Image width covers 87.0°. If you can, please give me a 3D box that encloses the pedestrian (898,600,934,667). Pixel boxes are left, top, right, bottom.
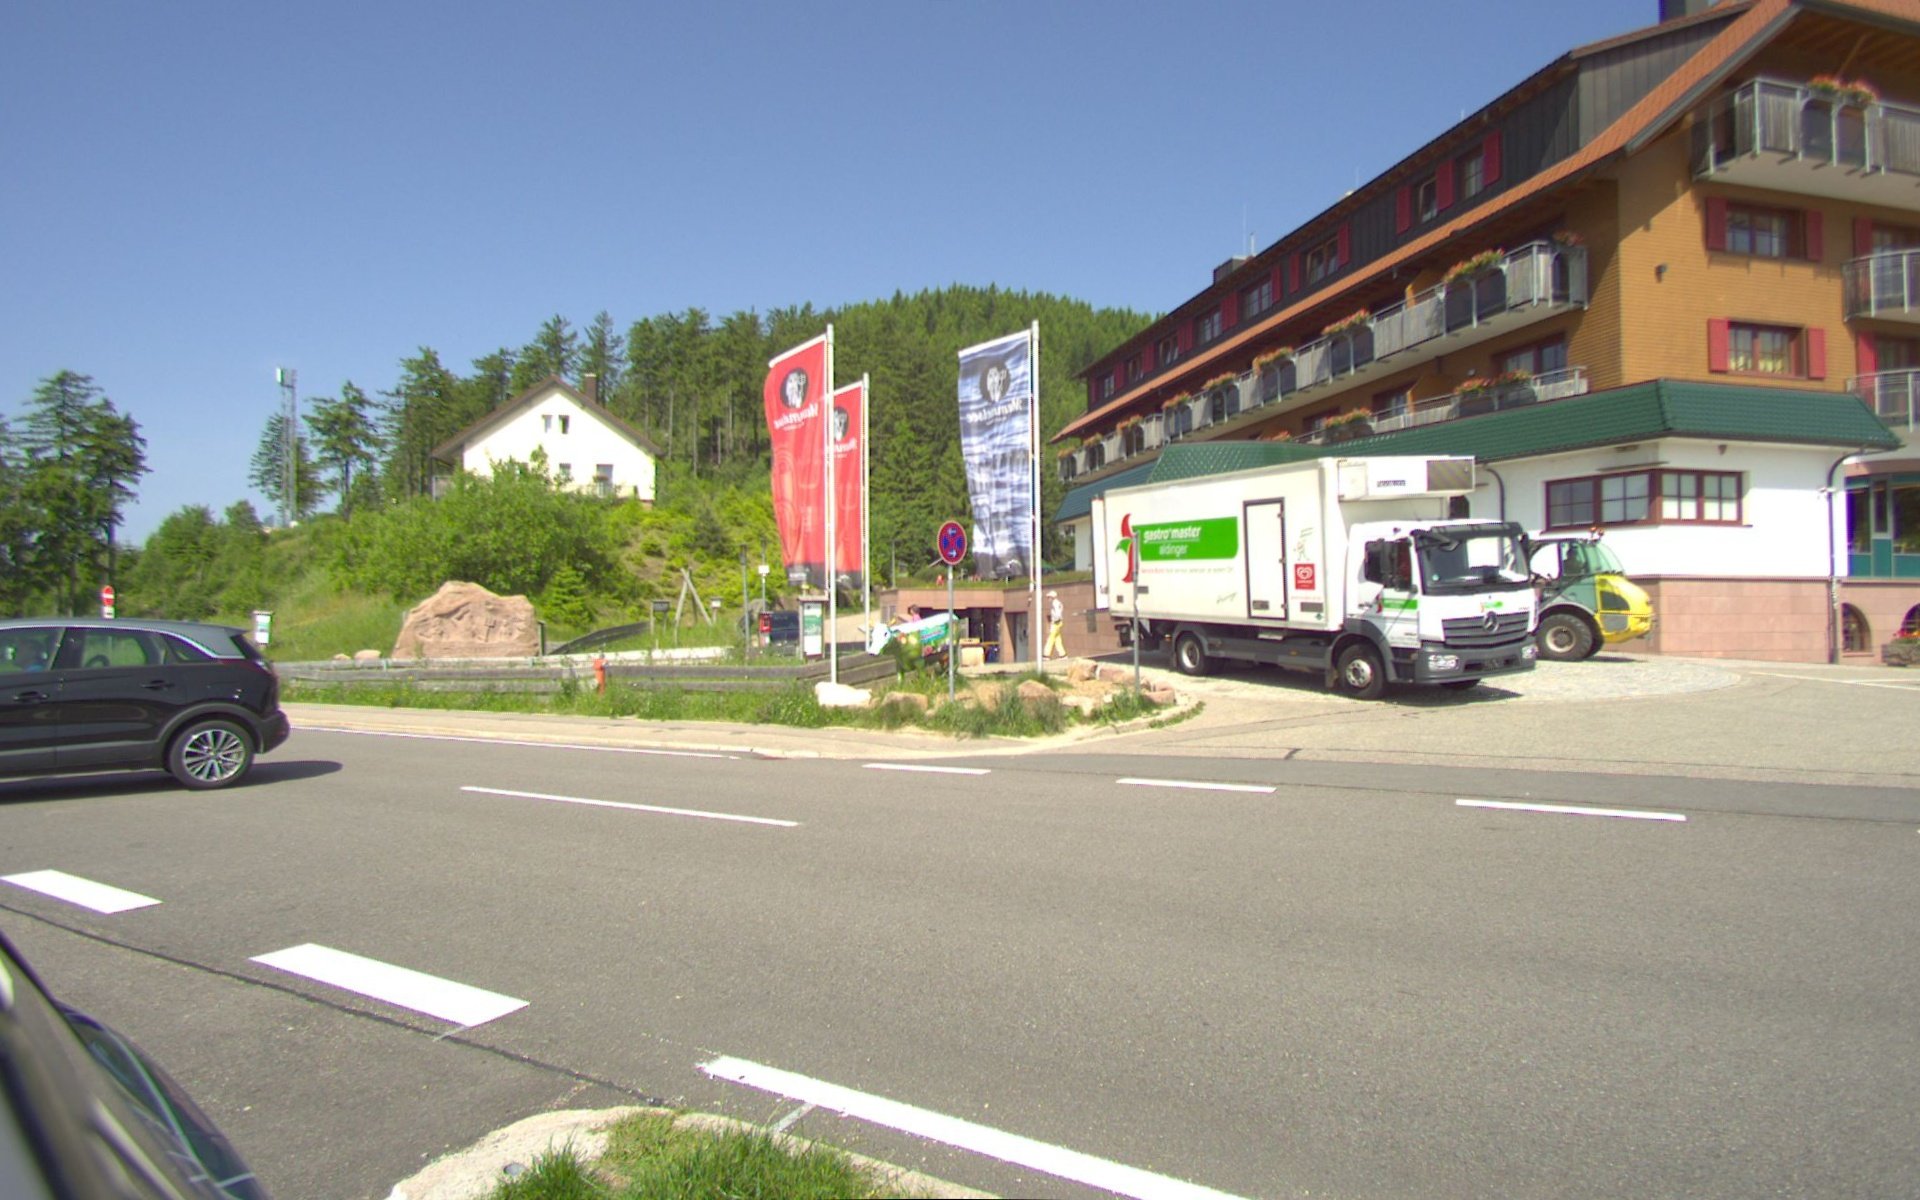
[{"bbox_3d":[-1.167,0.890,26.626,0.687,1.729,0.801,0,-2,-24],"label":"pedestrian"}]

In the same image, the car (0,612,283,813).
[{"bbox_3d":[-8.557,0.936,8.902,4.086,1.629,1.989,0,-1,-43],"label":"car"}]

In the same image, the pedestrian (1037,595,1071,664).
[{"bbox_3d":[2.346,0.731,25.314,0.565,1.702,0.655,0,-2,-24],"label":"pedestrian"}]

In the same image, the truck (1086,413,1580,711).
[{"bbox_3d":[5.887,-0.617,18.221,3.017,4.001,8.801,-3,2,-23],"label":"truck"}]

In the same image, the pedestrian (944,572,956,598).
[{"bbox_3d":[-0.645,-0.956,65.012,0.564,1.553,0.634,-6,4,-12],"label":"pedestrian"}]

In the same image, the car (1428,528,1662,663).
[{"bbox_3d":[12.003,-0.092,20.827,3.992,2.515,1.976,1,-1,36],"label":"car"}]

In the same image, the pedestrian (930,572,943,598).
[{"bbox_3d":[-1.492,-0.969,65.075,0.564,1.553,0.634,-6,4,-12],"label":"pedestrian"}]

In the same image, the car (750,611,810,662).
[{"bbox_3d":[-6.116,1.188,34.266,1.849,1.364,4.010,0,3,-11],"label":"car"}]
